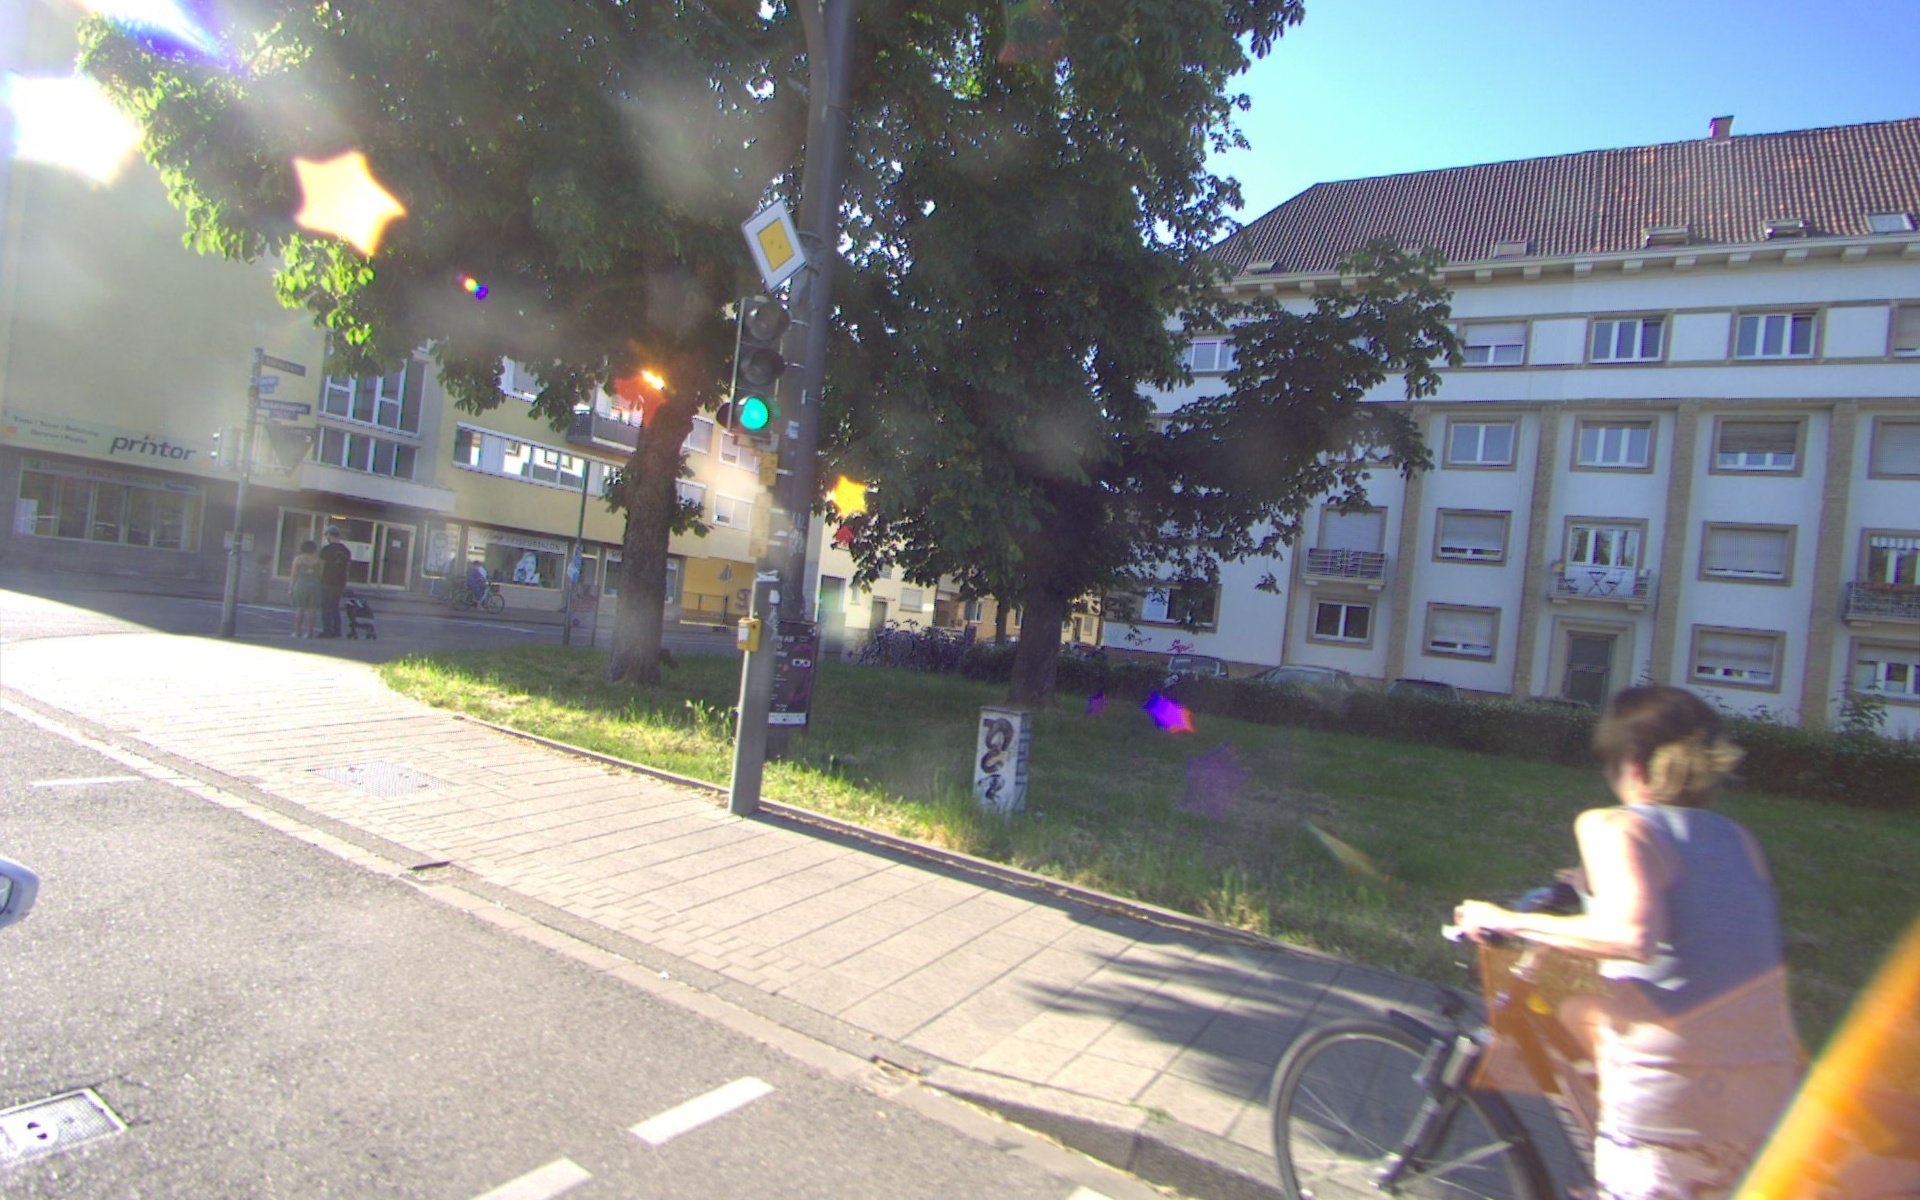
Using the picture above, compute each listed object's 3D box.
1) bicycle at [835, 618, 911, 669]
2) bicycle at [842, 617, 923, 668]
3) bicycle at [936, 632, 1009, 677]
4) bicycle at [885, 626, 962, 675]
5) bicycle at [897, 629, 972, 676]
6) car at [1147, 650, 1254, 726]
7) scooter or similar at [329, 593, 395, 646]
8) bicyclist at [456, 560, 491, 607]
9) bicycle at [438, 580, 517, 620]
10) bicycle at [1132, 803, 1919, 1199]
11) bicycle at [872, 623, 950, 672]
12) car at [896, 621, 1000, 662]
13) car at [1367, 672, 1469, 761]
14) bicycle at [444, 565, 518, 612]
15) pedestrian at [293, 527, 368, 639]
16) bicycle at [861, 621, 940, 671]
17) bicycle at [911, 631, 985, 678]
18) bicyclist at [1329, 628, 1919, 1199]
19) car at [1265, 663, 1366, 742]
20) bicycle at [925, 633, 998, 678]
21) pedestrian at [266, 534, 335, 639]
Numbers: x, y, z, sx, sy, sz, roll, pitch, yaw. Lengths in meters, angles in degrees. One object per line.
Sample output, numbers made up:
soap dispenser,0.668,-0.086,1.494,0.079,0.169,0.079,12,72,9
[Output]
bicycle,-2.191,1.076,25.148,1.766,1.046,0.598,6,-3,32
bicycle,-1.999,1.094,25.794,1.974,1.046,0.598,6,-3,32
bicycle,0.357,1.590,29.443,1.974,1.046,0.598,6,-3,32
bicycle,-1.007,1.372,27.430,1.974,1.046,0.598,6,-3,32
bicycle,-0.710,1.448,27.959,1.974,1.046,0.598,6,-3,32
car,5.913,2.132,24.537,1.549,1.547,3.254,6,-1,30
scooter or similar,-9.789,0.322,16.478,0.670,0.745,0.599,6,-3,31
bicyclist,-16.843,-0.573,34.832,0.765,1.489,0.887,6,1,-41
bicycle,-16.748,0.006,34.957,2.245,1.000,0.778,9,3,-43
bicycle,1.323,1.073,1.968,1.775,0.983,0.649,6,-3,35
bicycle,-1.318,1.260,26.887,1.974,1.046,0.598,6,-3,32
car,-0.619,2.238,53.868,5.060,1.512,2.209,8,0,-35
car,9.864,2.444,21.551,1.549,1.547,3.254,6,-1,30
bicycle,-18.121,-0.417,38.150,0.598,1.414,2.477,6,-4,31
pedestrian,-10.226,-0.279,16.347,0.526,1.700,0.729,6,-3,44
bicycle,-1.571,1.205,26.293,1.958,1.046,0.598,6,-3,32
bicycle,-0.341,1.529,28.431,1.974,1.046,0.598,6,-3,32
bicyclist,1.288,0.792,2.044,0.790,1.337,0.639,6,-3,34
car,8.370,2.369,23.543,1.549,1.547,3.254,6,-1,30
bicycle,0.025,1.592,28.945,1.974,1.046,0.598,6,-3,32
pedestrian,-10.402,-0.209,15.870,0.490,1.539,0.646,6,-3,44
